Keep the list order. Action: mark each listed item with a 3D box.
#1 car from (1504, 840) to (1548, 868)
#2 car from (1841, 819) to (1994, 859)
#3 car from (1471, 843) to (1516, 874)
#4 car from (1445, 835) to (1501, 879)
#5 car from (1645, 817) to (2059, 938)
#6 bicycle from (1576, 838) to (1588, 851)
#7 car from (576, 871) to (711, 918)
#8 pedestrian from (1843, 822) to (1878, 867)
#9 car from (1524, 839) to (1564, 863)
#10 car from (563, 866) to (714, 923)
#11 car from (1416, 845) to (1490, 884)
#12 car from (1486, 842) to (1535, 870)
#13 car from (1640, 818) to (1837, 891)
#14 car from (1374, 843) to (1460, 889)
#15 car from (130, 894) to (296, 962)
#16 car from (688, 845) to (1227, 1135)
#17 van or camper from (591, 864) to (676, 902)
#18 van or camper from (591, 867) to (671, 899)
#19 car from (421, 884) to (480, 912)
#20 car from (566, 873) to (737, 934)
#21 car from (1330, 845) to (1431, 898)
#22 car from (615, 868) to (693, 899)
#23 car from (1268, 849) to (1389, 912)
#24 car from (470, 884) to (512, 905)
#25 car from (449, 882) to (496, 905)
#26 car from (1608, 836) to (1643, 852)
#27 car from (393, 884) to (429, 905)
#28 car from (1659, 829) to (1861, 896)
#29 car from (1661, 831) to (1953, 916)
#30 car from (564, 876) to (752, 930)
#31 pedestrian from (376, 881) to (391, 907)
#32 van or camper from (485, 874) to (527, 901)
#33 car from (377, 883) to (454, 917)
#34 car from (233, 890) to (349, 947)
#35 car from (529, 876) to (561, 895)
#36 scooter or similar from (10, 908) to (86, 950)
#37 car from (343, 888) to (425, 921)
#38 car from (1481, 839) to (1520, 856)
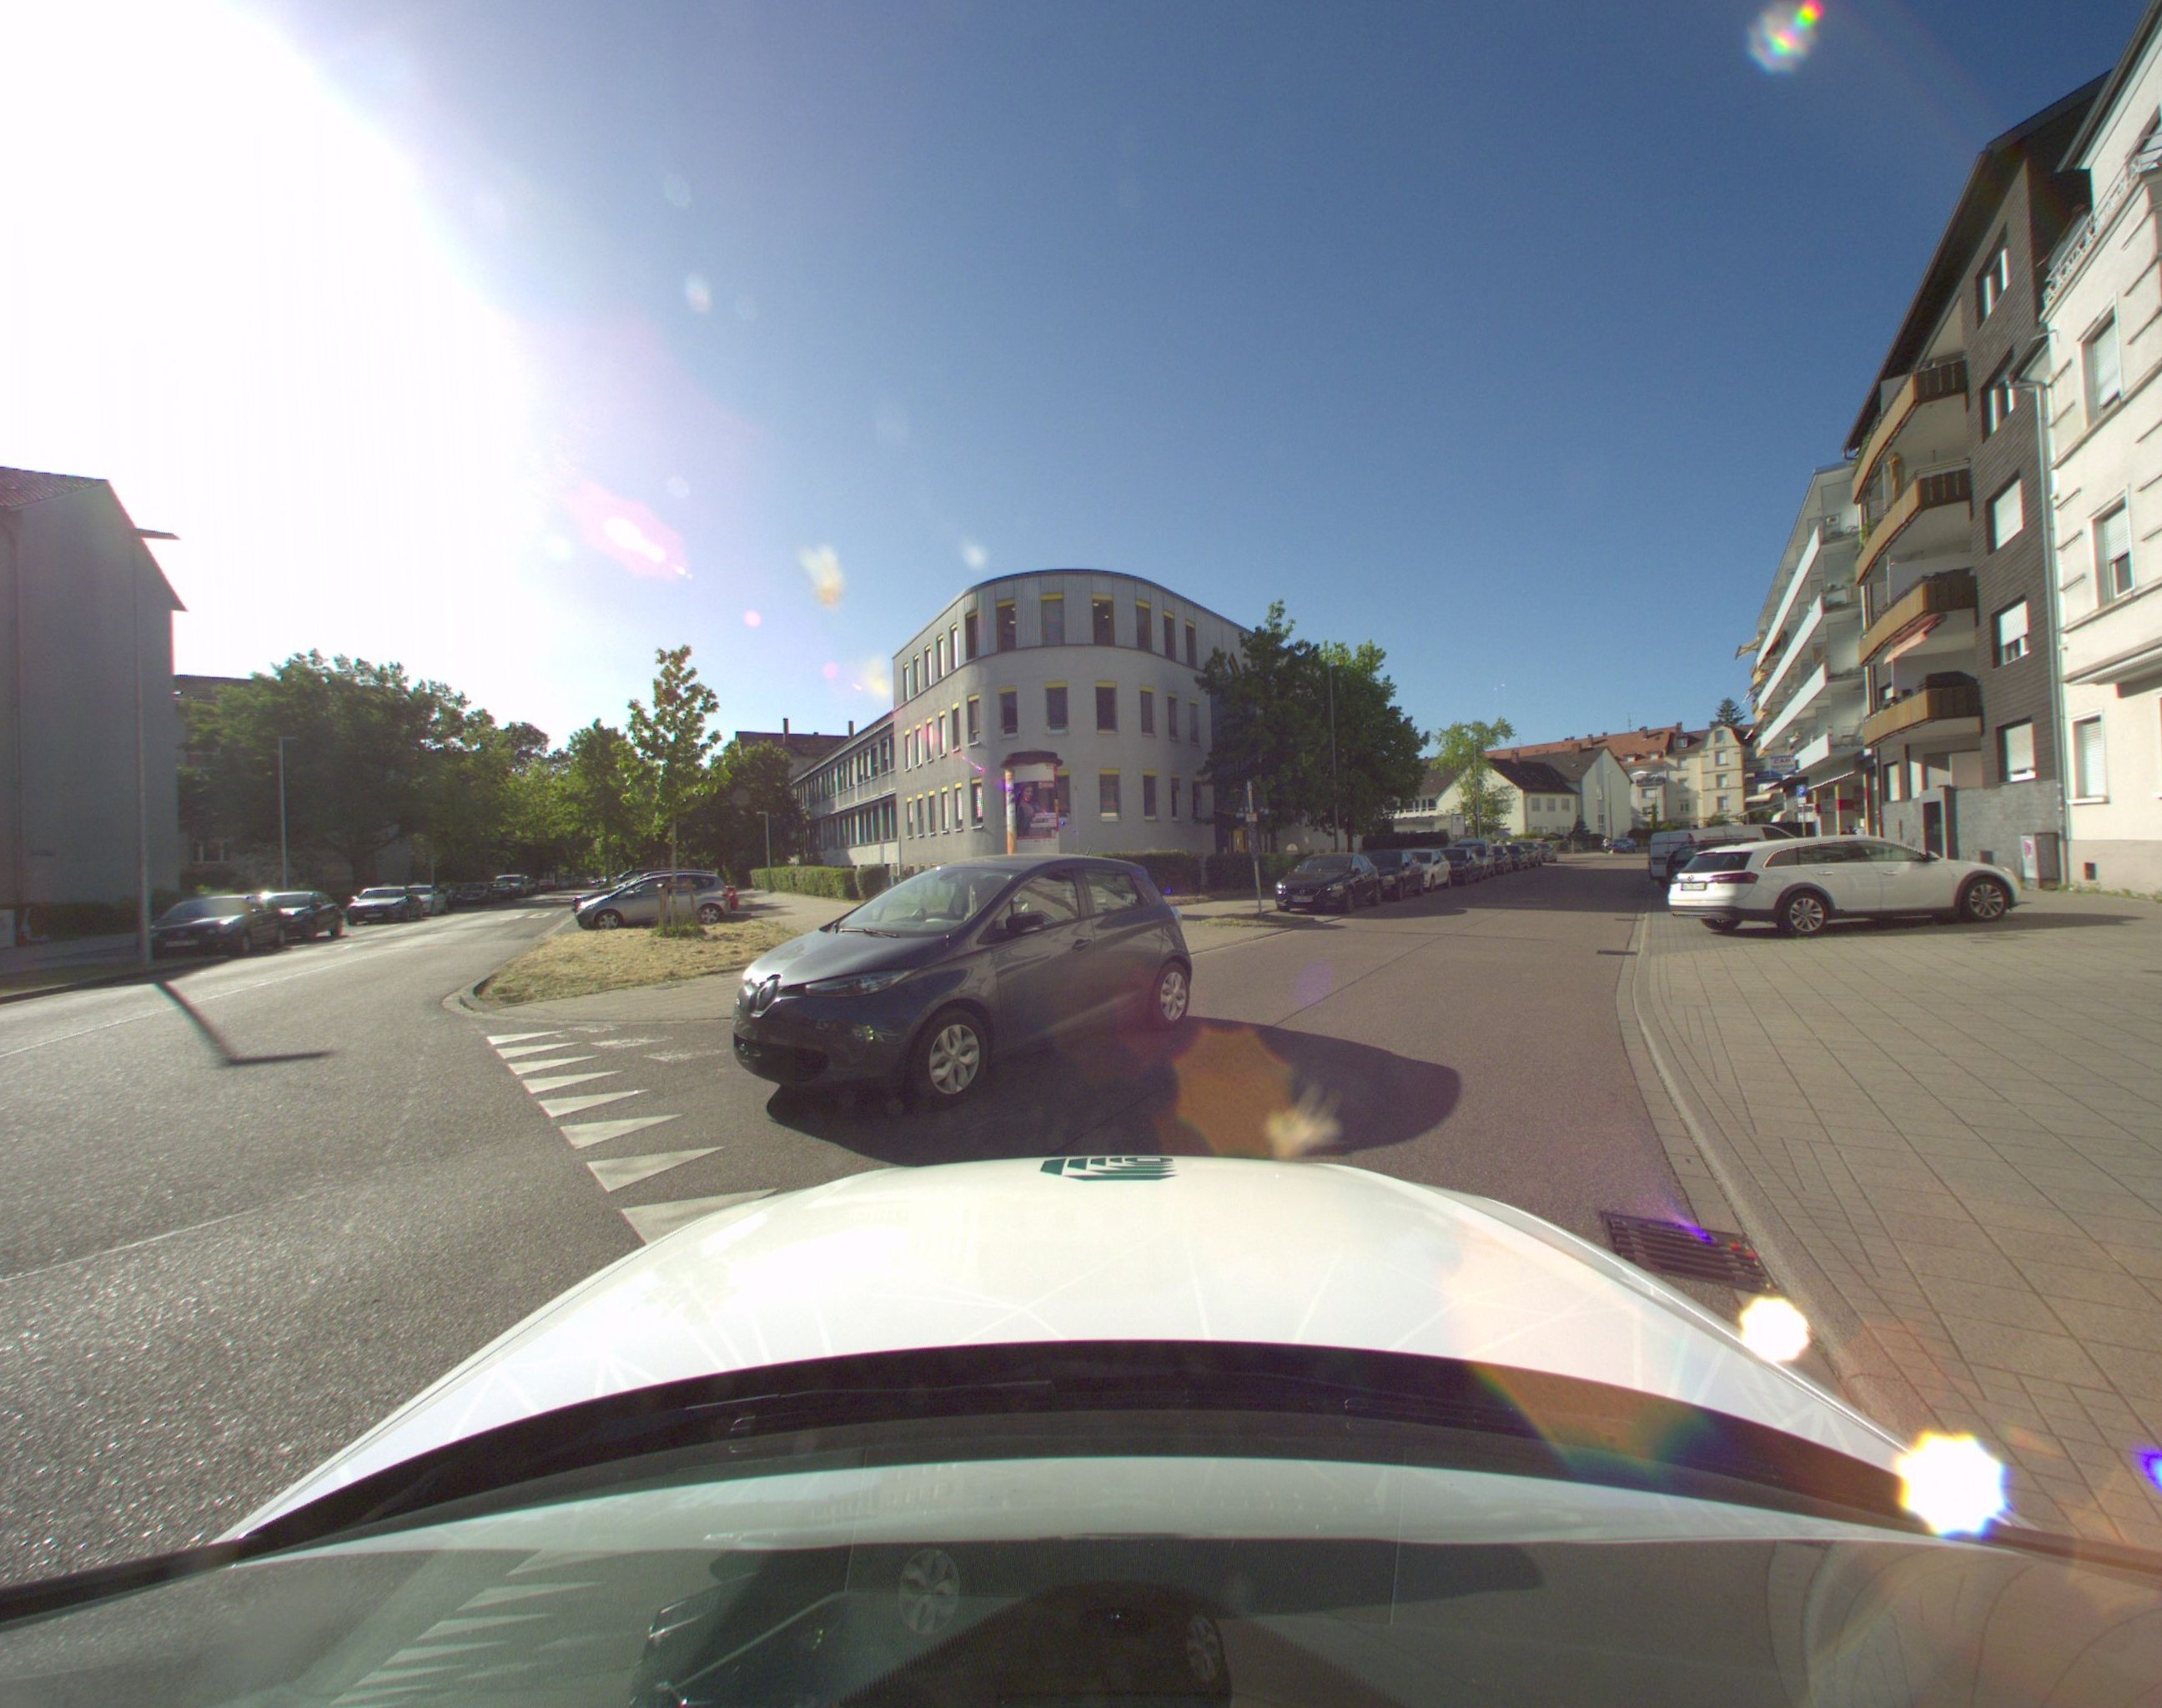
[{"bbox_3d":[27.350,-0.050,49.948,1.703,1.586,4.450,-2,0,37],"label":"car"},{"bbox_3d":[36.779,-0.624,35.990,4.348,1.512,1.992,-3,-2,35],"label":"car"},{"bbox_3d":[20.865,0.210,41.131,1.582,1.440,4.026,-1,0,33],"label":"car"},{"bbox_3d":[17.996,0.105,37.270,1.671,1.838,4.369,-2,0,33],"label":"car"},{"bbox_3d":[12.387,0.361,13.348,4.841,1.464,1.973,-4,0,0],"label":"car"},{"bbox_3d":[50.719,-0.957,82.422,1.938,1.250,0.452,1,-3,-42],"label":"bicycle"},{"bbox_3d":[-15.965,1.441,29.843,4.231,1.596,1.980,1,-2,-31],"label":"car"},{"bbox_3d":[28.747,-0.333,30.055,0.824,1.593,0.894,-4,-2,41],"label":"pedestrian"},{"bbox_3d":[33.269,-0.251,58.433,1.974,1.534,4.950,-2,0,35],"label":"car"},{"bbox_3d":[-14.782,1.319,27.316,4.307,1.765,1.980,1,-2,-31],"label":"car"},{"bbox_3d":[15.138,0.392,32.974,1.716,1.439,4.641,-2,0,37],"label":"car"},{"bbox_3d":[24.063,0.090,45.558,1.709,1.465,4.468,-2,0,37],"label":"car"},{"bbox_3d":[20.262,0.040,25.234,4.508,1.898,2.046,-3,-3,-6],"label":"car"},{"bbox_3d":[12.050,0.403,29.029,1.889,1.530,4.654,-2,-1,34],"label":"car"},{"bbox_3d":[-20.900,1.710,19.810,1.678,1.420,3.960,1,-2,-31],"label":"car"},{"bbox_3d":[-0.606,0.742,6.471,1.819,1.504,4.164,-2,-1,36],"label":"car"},{"bbox_3d":[-24.726,1.594,45.104,4.011,2.014,1.981,1,-2,-29],"label":"van or camper"},{"bbox_3d":[-26.246,1.690,47.583,4.011,1.772,1.981,1,-2,-29],"label":"van or camper"},{"bbox_3d":[-34.194,2.346,44.270,1.853,1.398,3.963,-1,-1,-28],"label":"car"},{"bbox_3d":[-12.026,1.336,22.901,4.116,1.492,1.711,-1,-2,-32],"label":"car"},{"bbox_3d":[9.262,0.506,24.960,1.889,1.479,4.408,-2,-1,34],"label":"car"},{"bbox_3d":[-27.483,1.887,52.441,4.308,1.699,1.980,-3,0,-31],"label":"car"},{"bbox_3d":[6.455,0.607,20.920,1.771,1.410,4.250,-1,0,34],"label":"car"},{"bbox_3d":[-42.325,2.885,58.520,1.853,1.398,3.963,-1,-1,-28],"label":"car"},{"bbox_3d":[-38.541,2.464,51.656,2.006,1.408,3.869,1,-2,-31],"label":"car"},{"bbox_3d":[53.501,-1.000,80.002,4.353,1.473,1.782,-2,1,-40],"label":"car"},{"bbox_3d":[-45.624,2.742,55.479,1.281,1.225,2.639,-2,0,-27],"label":"car"},{"bbox_3d":[18.464,0.269,22.275,3.966,1.489,1.618,-4,-3,4],"label":"car"},{"bbox_3d":[14.415,0.405,16.374,4.142,1.497,1.823,-2,-2,1],"label":"car"},{"bbox_3d":[-12.801,1.417,24.780,4.904,1.274,1.711,-2,-1,-33],"label":"car"},{"bbox_3d":[-44.784,2.572,52.309,0.638,1.664,0.692,-2,-1,-34],"label":"pedestrian"},{"bbox_3d":[-45.060,2.643,63.884,2.004,2.014,3.965,1,-3,-26],"label":"van or camper"},{"bbox_3d":[-30.811,2.108,37.847,2.005,1.398,3.963,-1,-1,-28],"label":"car"},{"bbox_3d":[-23.106,1.826,23.971,1.414,1.376,3.962,-2,0,-29],"label":"car"},{"bbox_3d":[-57.827,3.421,87.864,2.001,2.014,3.971,0,-2,-21],"label":"car"},{"bbox_3d":[-29.721,2.145,23.460,0.533,1.046,1.856,-2,0,-24],"label":"scooter or similar"},{"bbox_3d":[-27.989,1.992,32.830,1.639,1.234,4.153,1,-2,-28],"label":"car"},{"bbox_3d":[39.234,-0.595,76.133,3.198,1.556,1.788,1,-2,-31],"label":"car"}]
